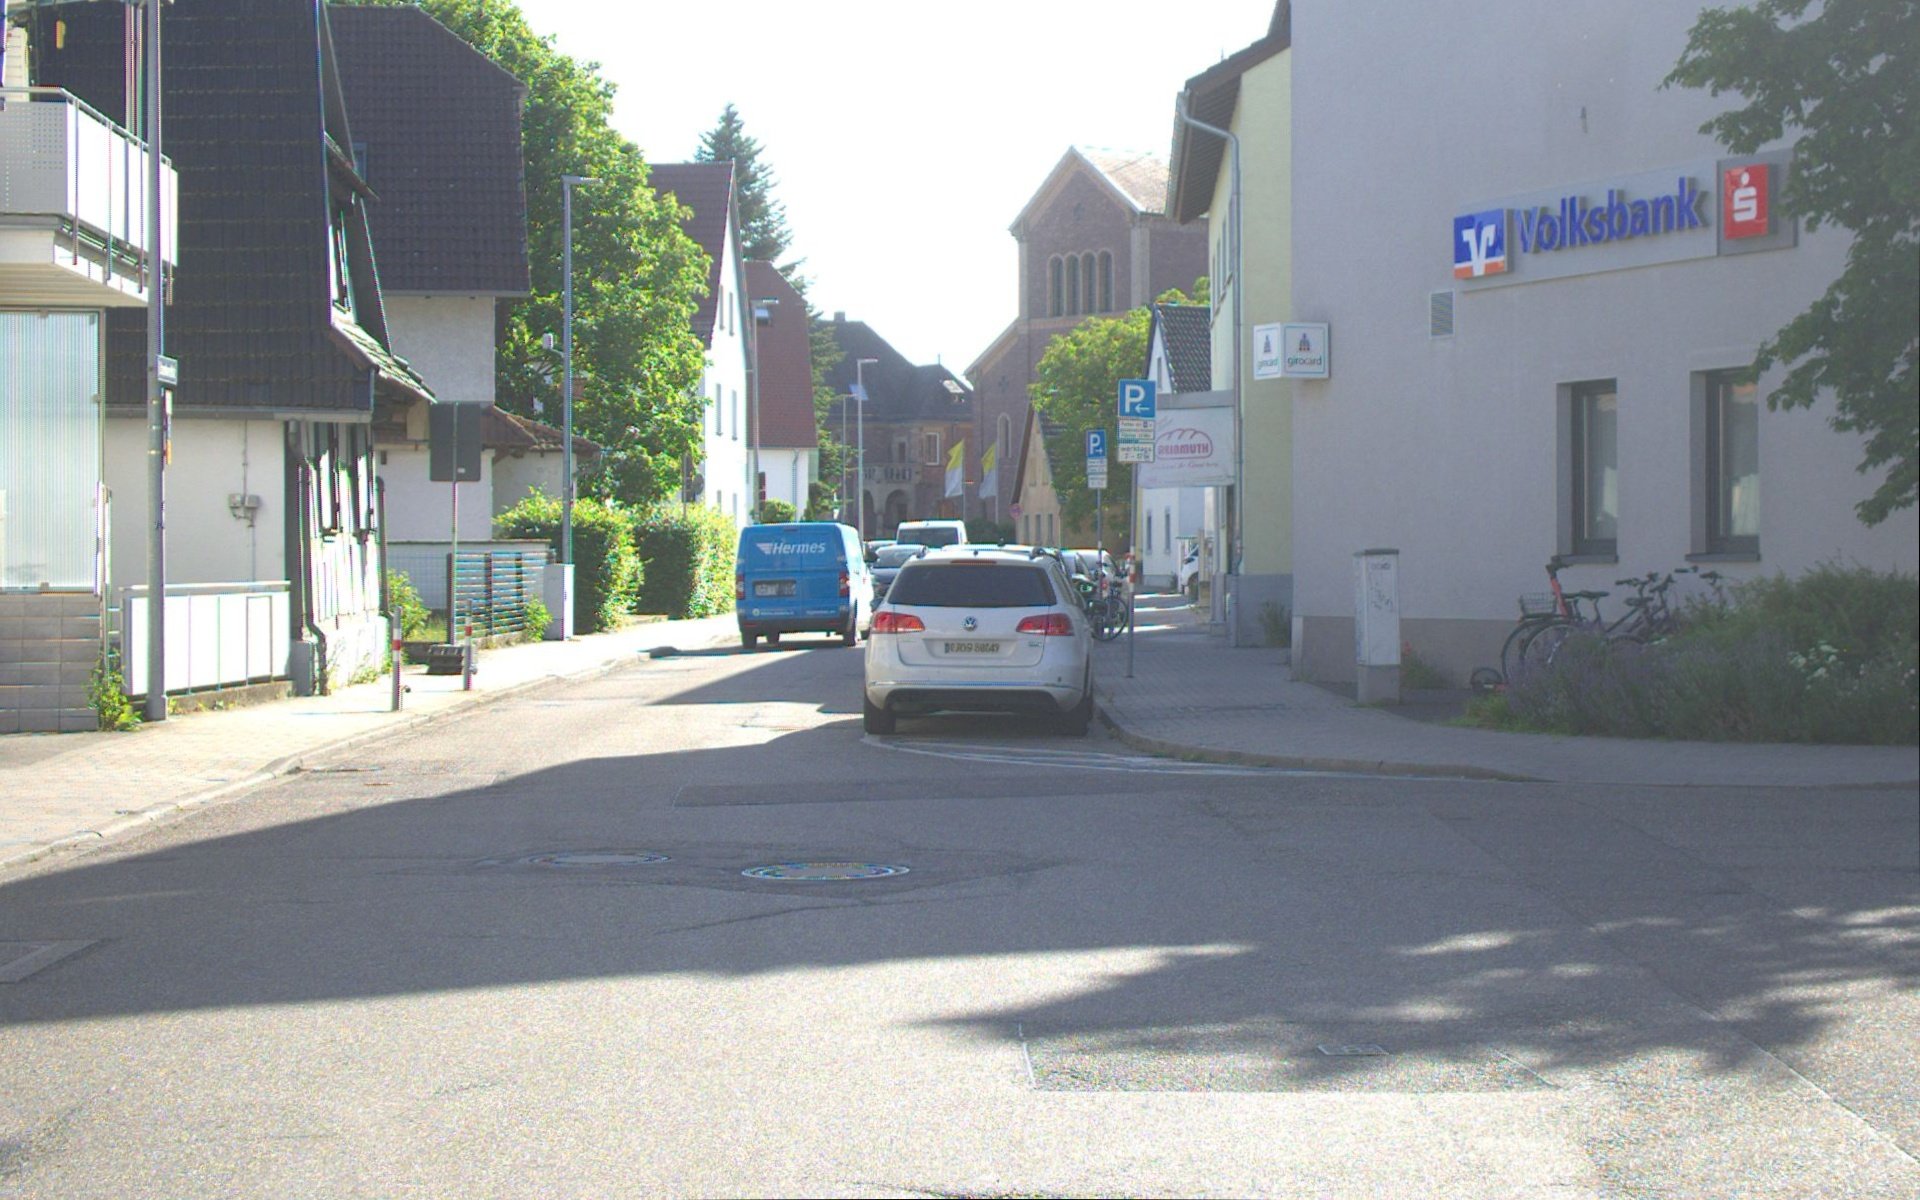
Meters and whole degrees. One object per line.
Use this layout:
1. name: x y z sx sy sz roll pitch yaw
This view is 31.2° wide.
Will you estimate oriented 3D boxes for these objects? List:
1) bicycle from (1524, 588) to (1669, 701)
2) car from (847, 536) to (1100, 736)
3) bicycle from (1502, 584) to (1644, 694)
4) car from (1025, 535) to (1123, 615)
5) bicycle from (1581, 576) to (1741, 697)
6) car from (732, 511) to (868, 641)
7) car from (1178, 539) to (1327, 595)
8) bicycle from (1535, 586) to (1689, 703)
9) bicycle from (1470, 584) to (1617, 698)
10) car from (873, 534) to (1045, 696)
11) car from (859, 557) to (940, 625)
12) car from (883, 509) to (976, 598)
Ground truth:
1. bicycle: 5.286 0.370 28.584 1.163 0.917 0.313 -1 1 9
2. car: 0.195 0.235 28.601 1.846 1.508 4.506 0 1 4
3. bicycle: 5.183 0.329 29.088 1.163 0.917 0.313 -1 1 9
4. car: 2.204 -0.505 66.650 1.811 1.470 4.659 1 1 2
5. bicycle: 5.444 0.282 26.711 1.162 0.917 0.313 -1 1 -1
6. car: -2.480 -0.412 54.348 1.902 1.911 5.070 -1 1 0
7. car: 8.166 -0.917 95.925 3.914 1.487 1.846 -1 1 12
8. bicycle: 5.223 0.356 27.563 1.162 0.917 0.313 -1 1 -1
9. bicycle: 5.046 0.354 29.721 1.223 0.972 0.320 0 1 15
10. car: -0.005 0.106 34.847 1.610 1.515 3.971 1 1 0
11. car: -1.510 -0.246 86.778 1.715 1.593 3.925 -1 1 3
12. car: -0.836 -1.360 98.586 2.197 2.382 6.064 -2 1 3
